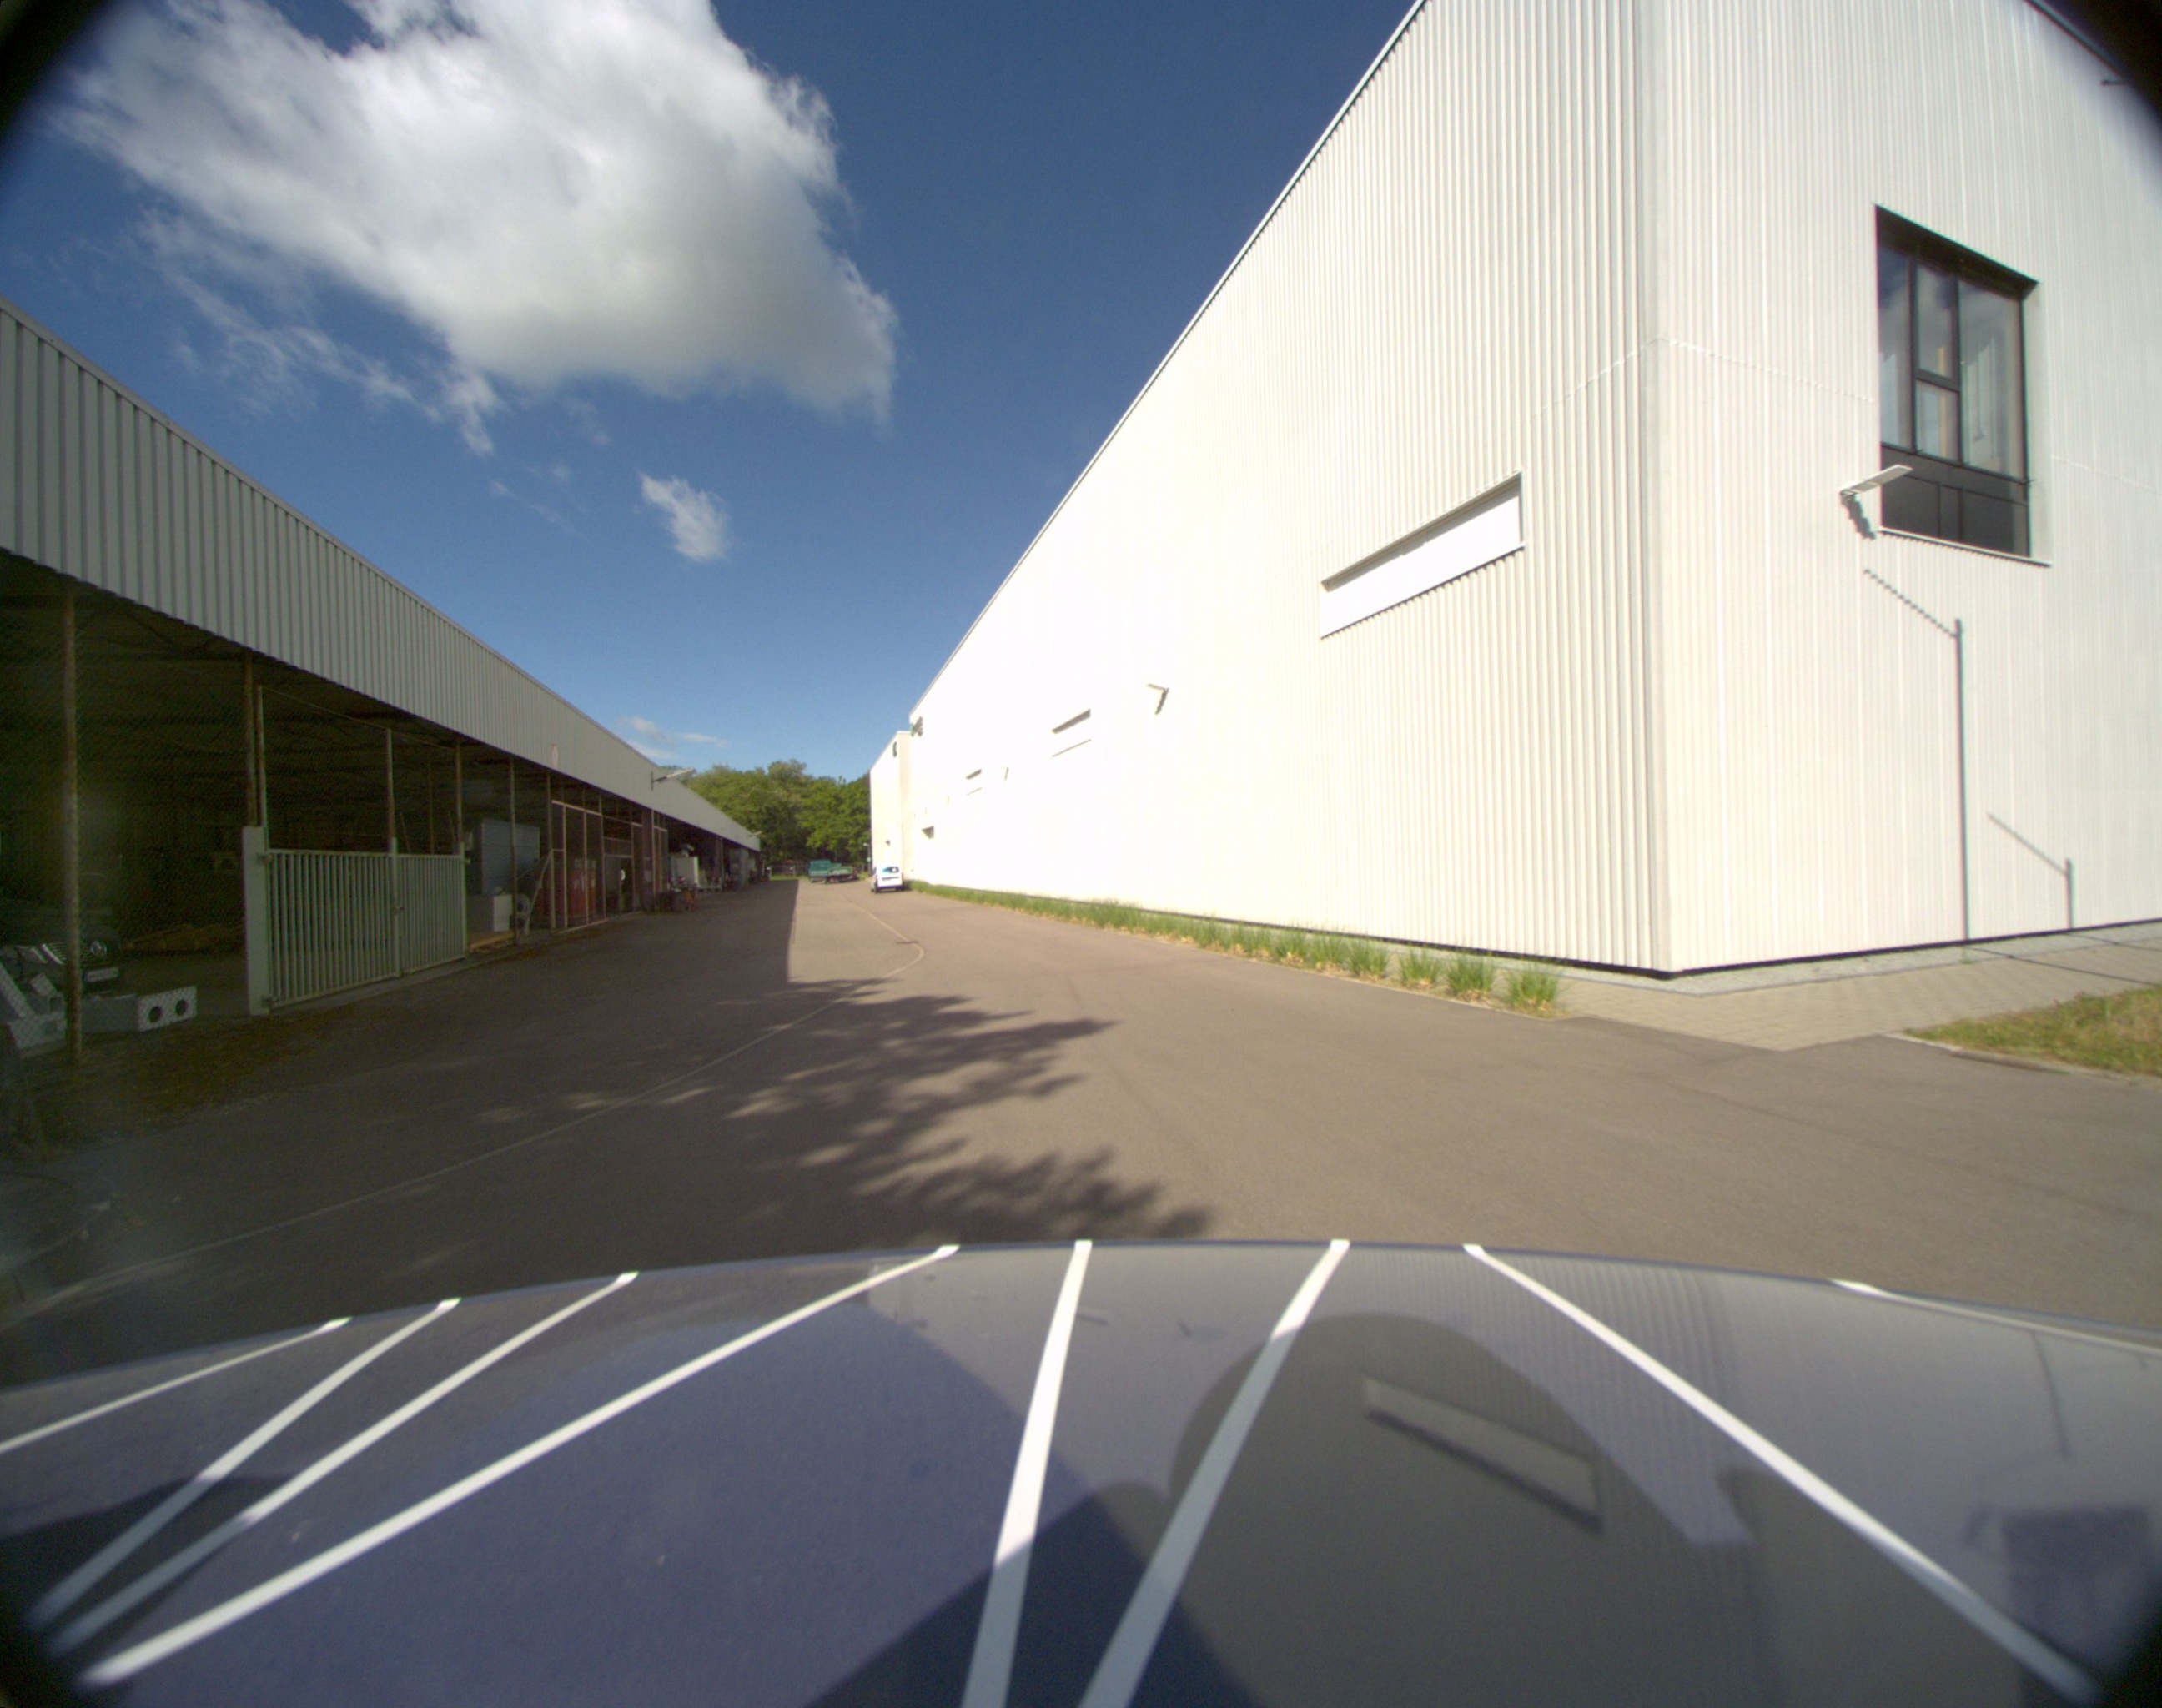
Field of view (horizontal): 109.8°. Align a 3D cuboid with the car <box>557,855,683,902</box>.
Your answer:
[{"bbox_3d":[-23.732,1.207,39.375,5.238,2.284,2.080,-1,0,-21],"label":"car"}]

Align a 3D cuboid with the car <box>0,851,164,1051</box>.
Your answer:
[{"bbox_3d":[-13.122,0.983,7.163,5.189,1.907,2.274,-1,0,-25],"label":"car"}]

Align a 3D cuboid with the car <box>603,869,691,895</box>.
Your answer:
[{"bbox_3d":[-25.763,1.647,45.283,4.363,1.425,1.861,0,0,-23],"label":"car"}]

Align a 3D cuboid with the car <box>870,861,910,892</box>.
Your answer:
[{"bbox_3d":[-12.381,1.420,49.076,1.936,1.779,4.590,-3,0,-20],"label":"car"}]

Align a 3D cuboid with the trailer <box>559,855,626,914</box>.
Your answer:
[{"bbox_3d":[-18.812,1.125,29.390,1.584,2.130,3.515,0,0,-23],"label":"trailer"}]

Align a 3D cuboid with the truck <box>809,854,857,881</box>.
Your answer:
[{"bbox_3d":[-27.560,1.562,84.132,2.593,2.701,9.672,-4,1,-33],"label":"truck"}]

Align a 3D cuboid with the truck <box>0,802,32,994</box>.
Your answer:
[{"bbox_3d":[-17.504,0.635,8.979,5.590,2.690,2.362,-1,0,-20],"label":"truck"}]

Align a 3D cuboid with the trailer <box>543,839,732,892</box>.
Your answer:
[{"bbox_3d":[-28.600,0.779,49.688,10.337,3.275,2.671,0,-1,-20],"label":"trailer"}]

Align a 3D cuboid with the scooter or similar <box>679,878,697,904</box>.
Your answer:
[{"bbox_3d":[-18.228,1.704,35.254,0.522,1.128,1.589,-1,1,-21],"label":"scooter or similar"}]

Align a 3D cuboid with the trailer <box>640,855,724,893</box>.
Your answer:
[{"bbox_3d":[-25.245,1.260,48.239,4.561,2.321,1.686,0,0,-20],"label":"trailer"}]
